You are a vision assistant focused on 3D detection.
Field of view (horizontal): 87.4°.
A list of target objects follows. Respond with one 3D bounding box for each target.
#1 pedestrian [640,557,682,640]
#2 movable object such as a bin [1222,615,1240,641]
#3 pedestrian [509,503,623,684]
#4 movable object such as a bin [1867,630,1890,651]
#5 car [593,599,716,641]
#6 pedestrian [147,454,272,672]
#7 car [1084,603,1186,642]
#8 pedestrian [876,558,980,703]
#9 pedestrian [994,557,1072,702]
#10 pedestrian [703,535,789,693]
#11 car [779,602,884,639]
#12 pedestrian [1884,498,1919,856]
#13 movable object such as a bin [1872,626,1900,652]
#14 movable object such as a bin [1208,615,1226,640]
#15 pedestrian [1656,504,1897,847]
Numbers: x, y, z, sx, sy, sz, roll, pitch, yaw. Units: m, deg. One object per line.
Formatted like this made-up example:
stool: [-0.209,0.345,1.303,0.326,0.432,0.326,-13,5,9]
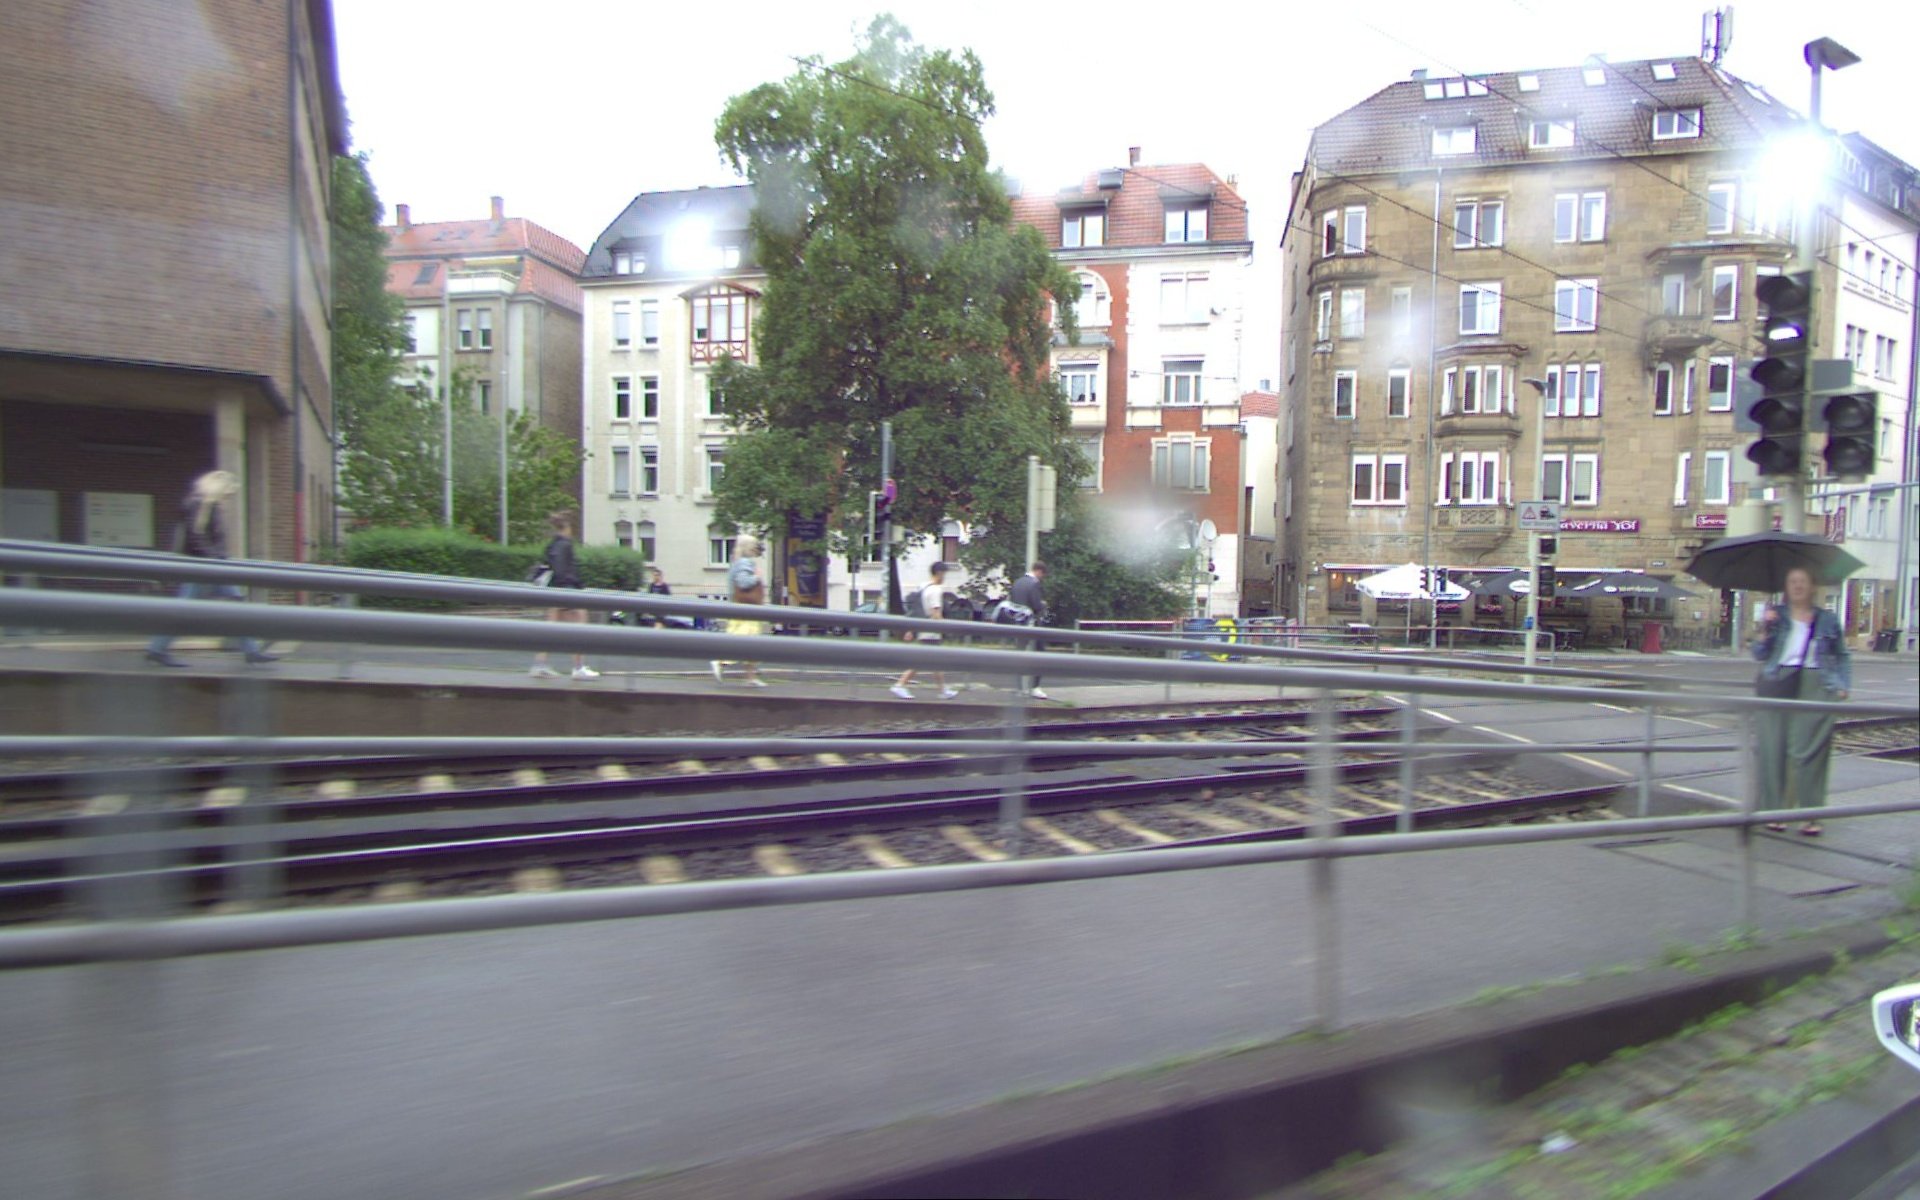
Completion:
pedestrian: [-6.246,-0.026,20.974,0.681,1.697,0.600,1,0,-33]
movable object such as a bin: [11.445,1.181,42.440,0.540,1.056,0.722,1,0,1]
pedestrian: [-4.015,-0.055,10.227,0.873,1.718,0.740,4,0,-31]
movable object such as a bin: [41.530,1.829,45.424,0.553,0.923,0.590,1,4,-30]
car: [-11.134,0.728,36.742,3.919,1.421,1.743,1,-1,12]
pedestrian: [-6.301,-0.294,8.472,0.681,1.720,0.660,5,0,-33]
car: [7.010,0.894,40.148,3.919,1.421,1.743,1,-1,12]
pedestrian: [-0.373,0.343,11.671,0.945,1.604,0.689,1,2,-30]
pedestrian: [0.962,0.390,13.195,0.790,1.842,0.508,3,1,-30]
pedestrian: [-2.379,0.149,11.126,0.633,1.668,0.740,4,0,-30]
car: [-5.448,0.865,42.822,4.059,1.421,1.743,1,-1,12]
pedestrian: [6.056,0.459,5.680,0.936,2.041,0.921,1,1,-30]
movable object such as a bin: [42.120,1.766,45.686,0.679,1.088,0.709,1,4,-31]
movable object such as a bin: [10.863,1.153,42.461,0.540,1.056,0.722,1,0,1]
pedestrian: [5.342,0.451,6.596,0.936,2.041,0.892,1,1,-30]
